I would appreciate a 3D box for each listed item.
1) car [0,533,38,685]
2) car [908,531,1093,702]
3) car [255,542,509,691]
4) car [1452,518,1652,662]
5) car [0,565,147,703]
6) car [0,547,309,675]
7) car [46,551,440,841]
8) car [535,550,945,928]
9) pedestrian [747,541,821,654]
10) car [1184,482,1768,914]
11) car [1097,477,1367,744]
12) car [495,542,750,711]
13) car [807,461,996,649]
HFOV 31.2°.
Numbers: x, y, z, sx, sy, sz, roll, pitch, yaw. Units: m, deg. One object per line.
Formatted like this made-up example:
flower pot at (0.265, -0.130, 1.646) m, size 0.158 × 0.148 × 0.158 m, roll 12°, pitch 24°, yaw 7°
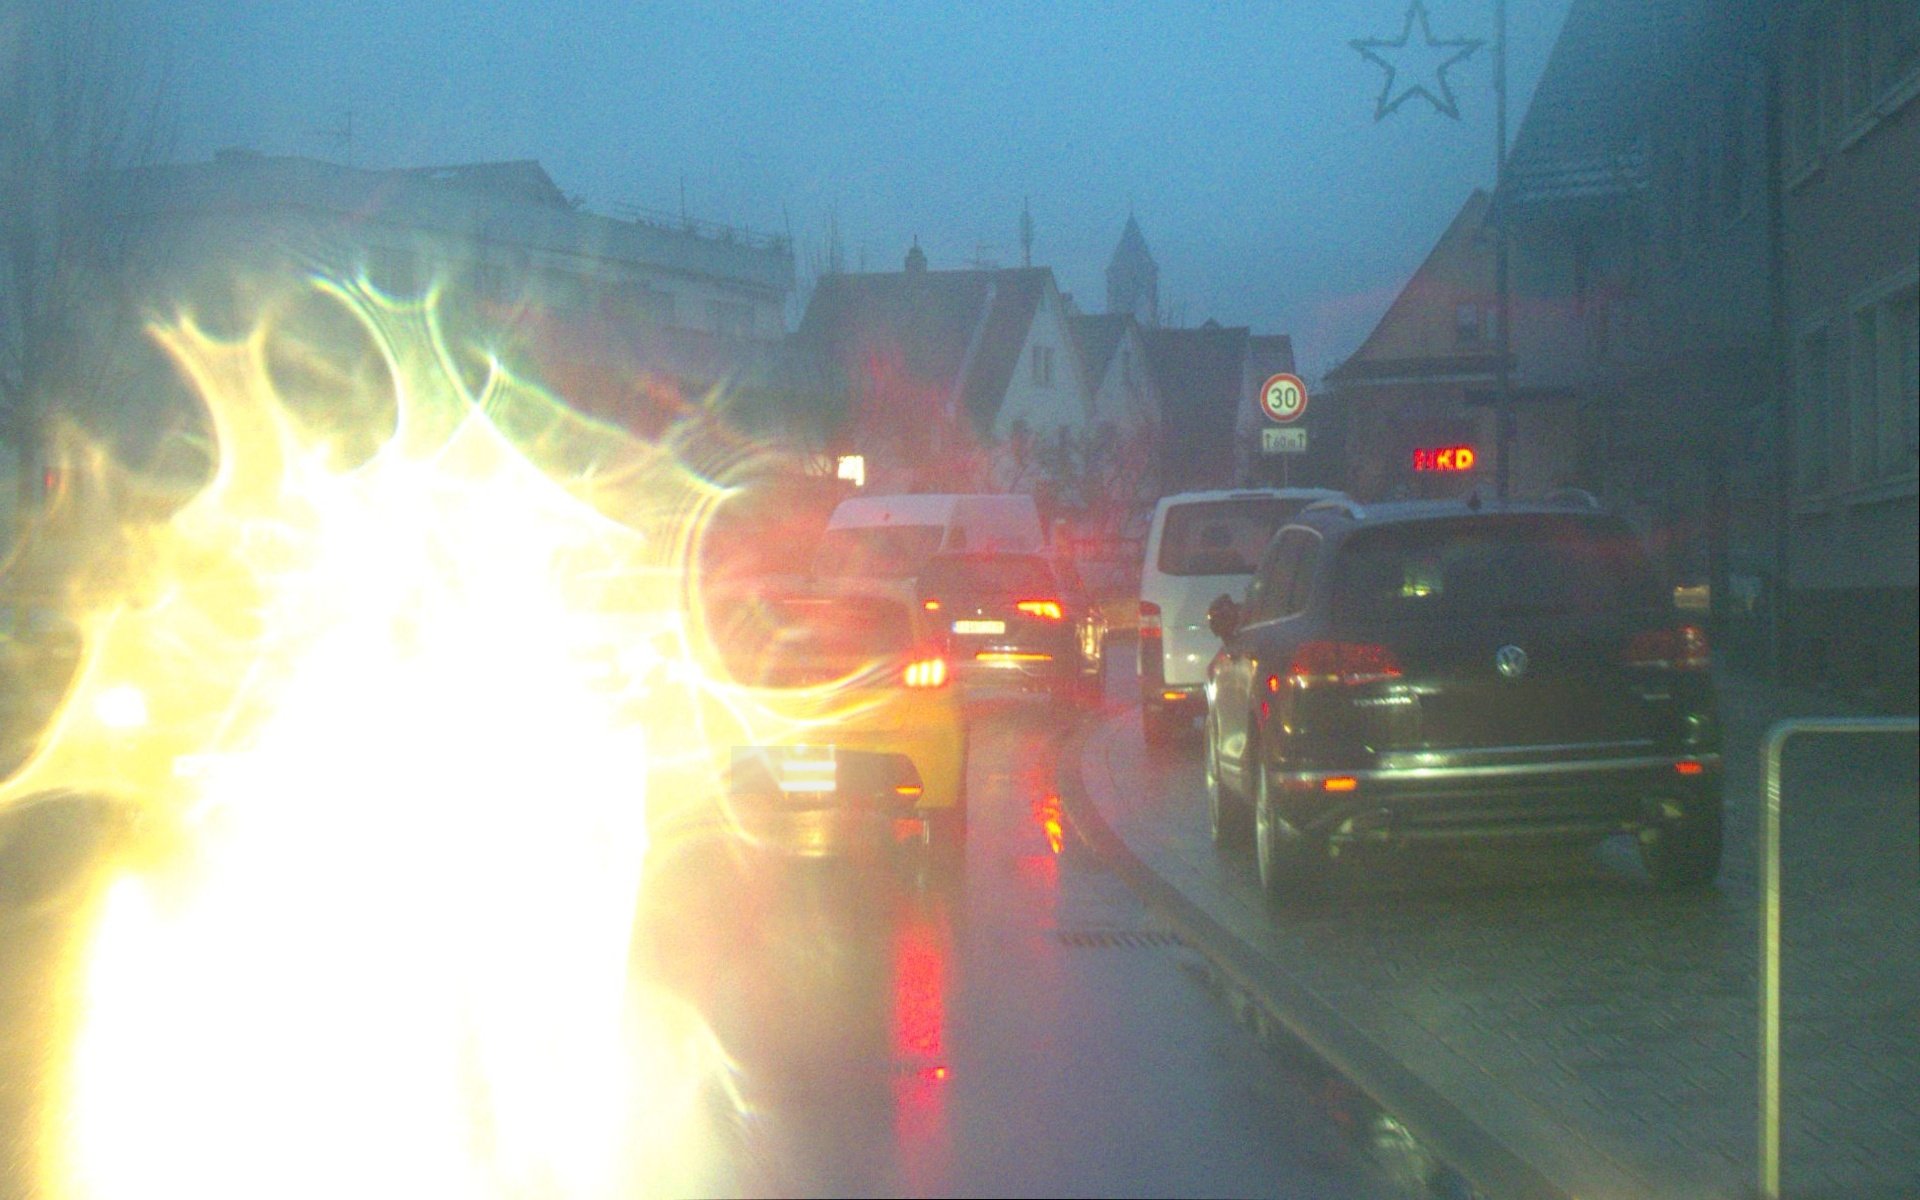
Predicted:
car at (-12.567, 0.136, 38.381) m, size 4.651 × 1.648 × 1.983 m, roll -1°, pitch 0°, yaw 39°
car at (0.405, 0.124, 35.311) m, size 1.797 × 1.656 × 4.000 m, roll 0°, pitch 1°, yaw 0°
car at (-6.394, 0.141, 38.483) m, size 1.905 × 1.528 × 4.256 m, roll -1°, pitch 1°, yaw 3°
car at (6.940, -0.150, 40.630) m, size 1.734 × 1.556 × 3.664 m, roll -2°, pitch 1°, yaw 1°
car at (-11.961, 0.440, 42.029) m, size 4.109 × 1.577 × 1.717 m, roll -2°, pitch 0°, yaw 39°
car at (-10.365, 0.115, 44.003) m, size 3.997 × 1.525 × 1.995 m, roll 0°, pitch 2°, yaw 43°
car at (-4.224, 0.502, 20.801) m, size 1.619 × 1.475 × 3.839 m, roll -2°, pitch 2°, yaw -2°
car at (-1.134, 0.659, 19.439) m, size 1.993 × 1.789 × 4.649 m, roll -1°, pitch 1°, yaw -1°
pedestrian at (-2.939, -0.048, 57.512) m, size 0.755 × 1.860 × 1.059 m, roll -1°, pitch 1°, yaw 30°
car at (2.190, 0.335, 15.846) m, size 1.974 × 1.655 × 4.460 m, roll -2°, pitch 1°, yaw 0°
car at (2.163, 0.020, 28.193) m, size 1.973 × 1.953 × 4.852 m, roll -1°, pitch 1°, yaw 3°
car at (-3.345, 0.213, 34.890) m, size 1.826 × 1.513 × 4.548 m, roll -2°, pitch 1°, yaw 4°
car at (-0.752, -0.677, 49.232) m, size 2.195 × 2.482 × 6.142 m, roll -1°, pitch 1°, yaw 3°
